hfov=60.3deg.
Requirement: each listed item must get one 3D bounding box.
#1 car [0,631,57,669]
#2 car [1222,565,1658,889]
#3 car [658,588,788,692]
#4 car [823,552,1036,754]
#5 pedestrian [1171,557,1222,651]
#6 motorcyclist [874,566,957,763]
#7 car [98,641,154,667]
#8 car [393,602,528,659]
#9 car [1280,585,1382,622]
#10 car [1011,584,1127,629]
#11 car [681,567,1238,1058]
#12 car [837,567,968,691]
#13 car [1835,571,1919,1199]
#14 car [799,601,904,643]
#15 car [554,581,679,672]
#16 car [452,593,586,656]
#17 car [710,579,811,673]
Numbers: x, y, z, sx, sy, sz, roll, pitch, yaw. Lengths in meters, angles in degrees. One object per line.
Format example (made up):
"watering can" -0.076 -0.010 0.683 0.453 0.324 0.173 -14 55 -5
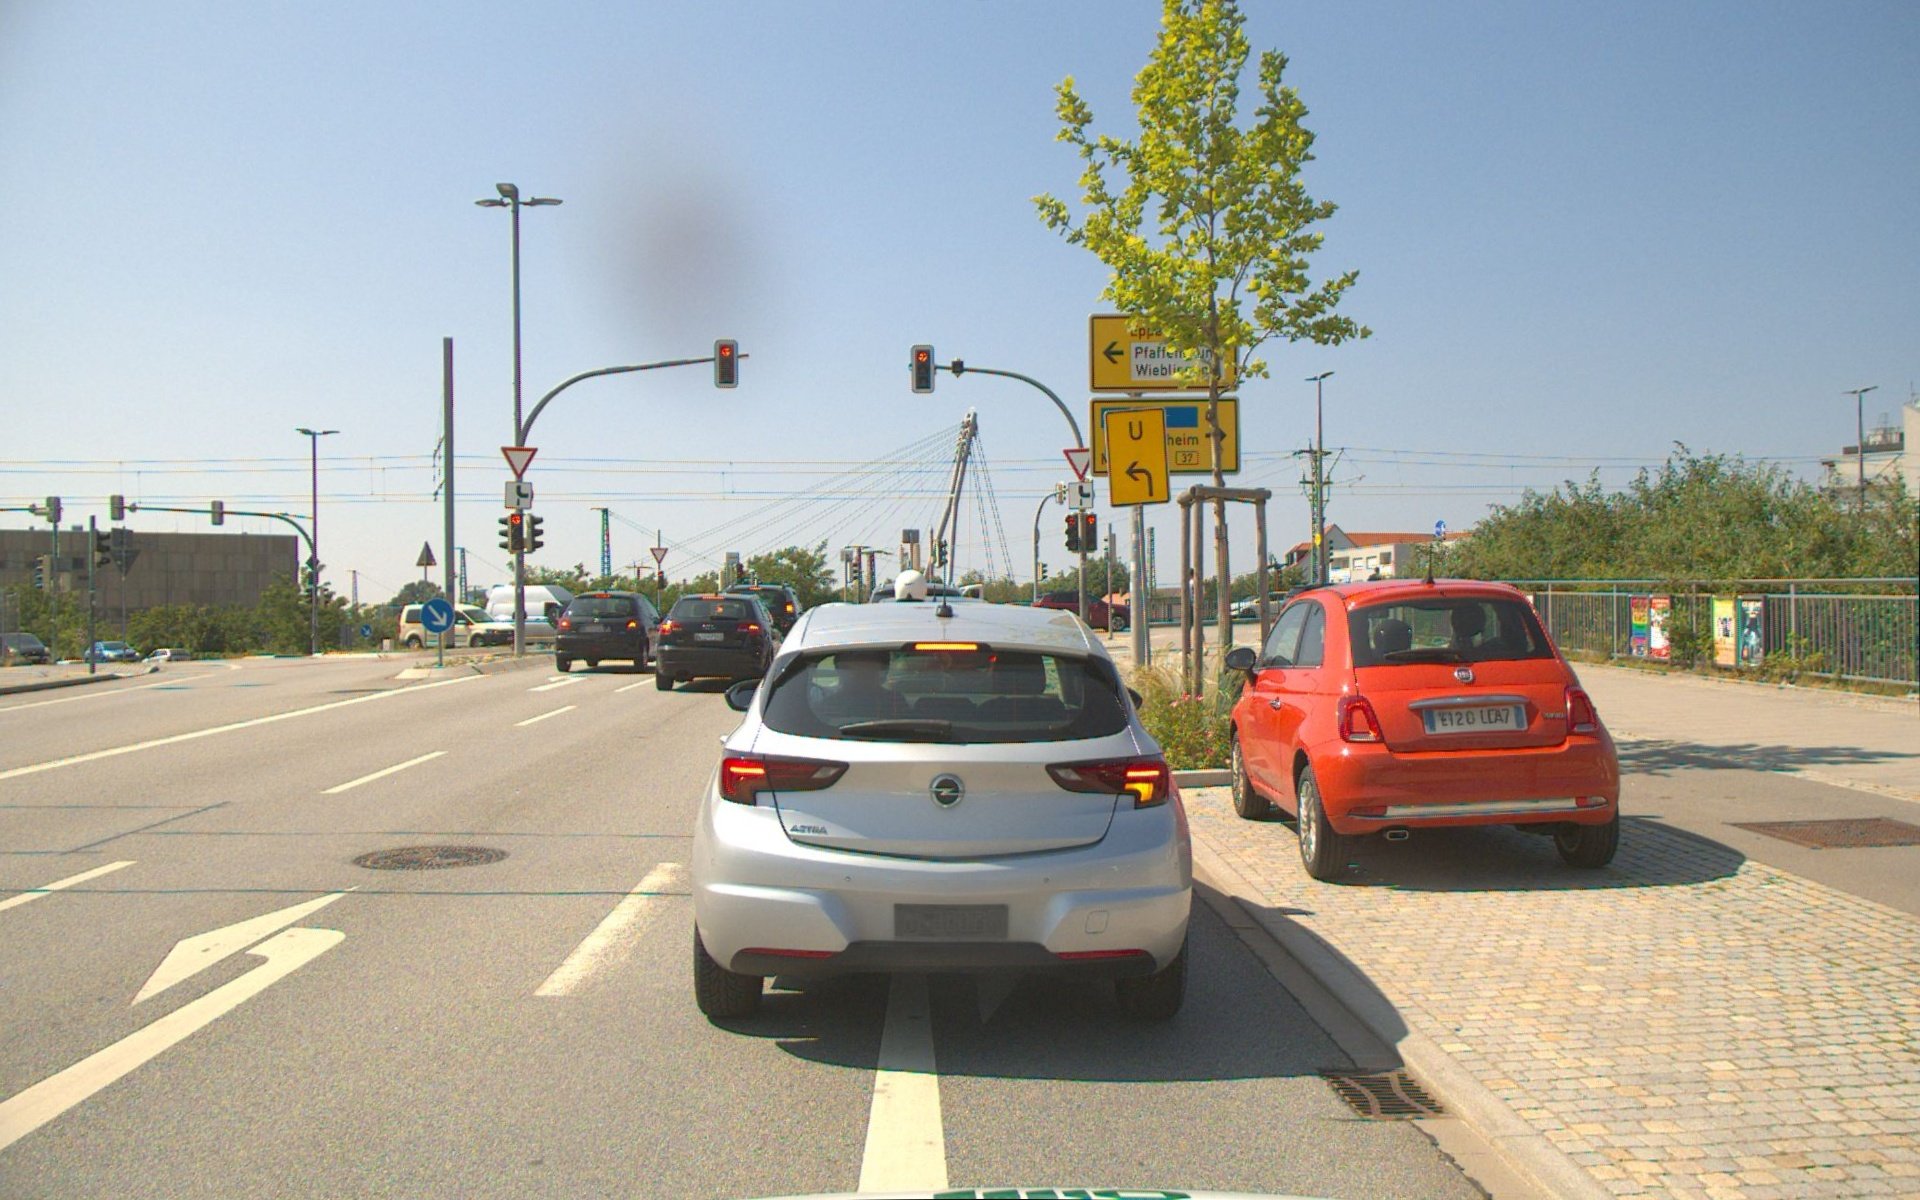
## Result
"car" -41.205 2.193 73.111 1.662 1.502 3.358 -1 1 -39
"car" 2.620 0.611 9.783 1.577 1.522 3.352 -2 0 0
"car" -3.588 0.583 25.603 1.543 1.459 3.785 1 0 -2
"car" -0.312 0.465 17.602 1.953 1.852 4.401 1 1 -1
"pedestrian" 4.755 0.085 33.234 0.790 1.868 0.640 0 -1 -39
"motorcyclist" -0.326 0.465 12.300 0.570 1.413 0.706 1 -1 -1
"car" -45.027 2.907 89.268 1.806 1.354 3.941 1 -2 -40
"car" -18.969 1.140 62.772 4.605 2.049 2.000 1 0 20
"car" 14.756 0.144 65.836 3.646 1.408 1.583 0 -1 -9
"car" 4.126 0.249 63.013 4.191 1.660 1.754 0 -1 -5
"car" -0.103 0.673 7.125 1.708 1.503 3.997 1 0 -3
"car" -0.774 0.352 23.734 1.689 1.591 4.000 1 1 -1
"car" 2.920 0.635 1.910 1.626 1.451 3.999 -1 0 -1
"car" -4.120 0.846 63.234 3.906 1.508 1.999 1 0 -1
"car" -6.364 0.471 30.981 1.565 1.574 3.761 1 0 -1
"car" -17.343 0.942 65.004 4.895 2.418 1.785 0 -1 18
"car" -3.746 0.473 31.547 1.616 1.643 3.818 1 0 -3
